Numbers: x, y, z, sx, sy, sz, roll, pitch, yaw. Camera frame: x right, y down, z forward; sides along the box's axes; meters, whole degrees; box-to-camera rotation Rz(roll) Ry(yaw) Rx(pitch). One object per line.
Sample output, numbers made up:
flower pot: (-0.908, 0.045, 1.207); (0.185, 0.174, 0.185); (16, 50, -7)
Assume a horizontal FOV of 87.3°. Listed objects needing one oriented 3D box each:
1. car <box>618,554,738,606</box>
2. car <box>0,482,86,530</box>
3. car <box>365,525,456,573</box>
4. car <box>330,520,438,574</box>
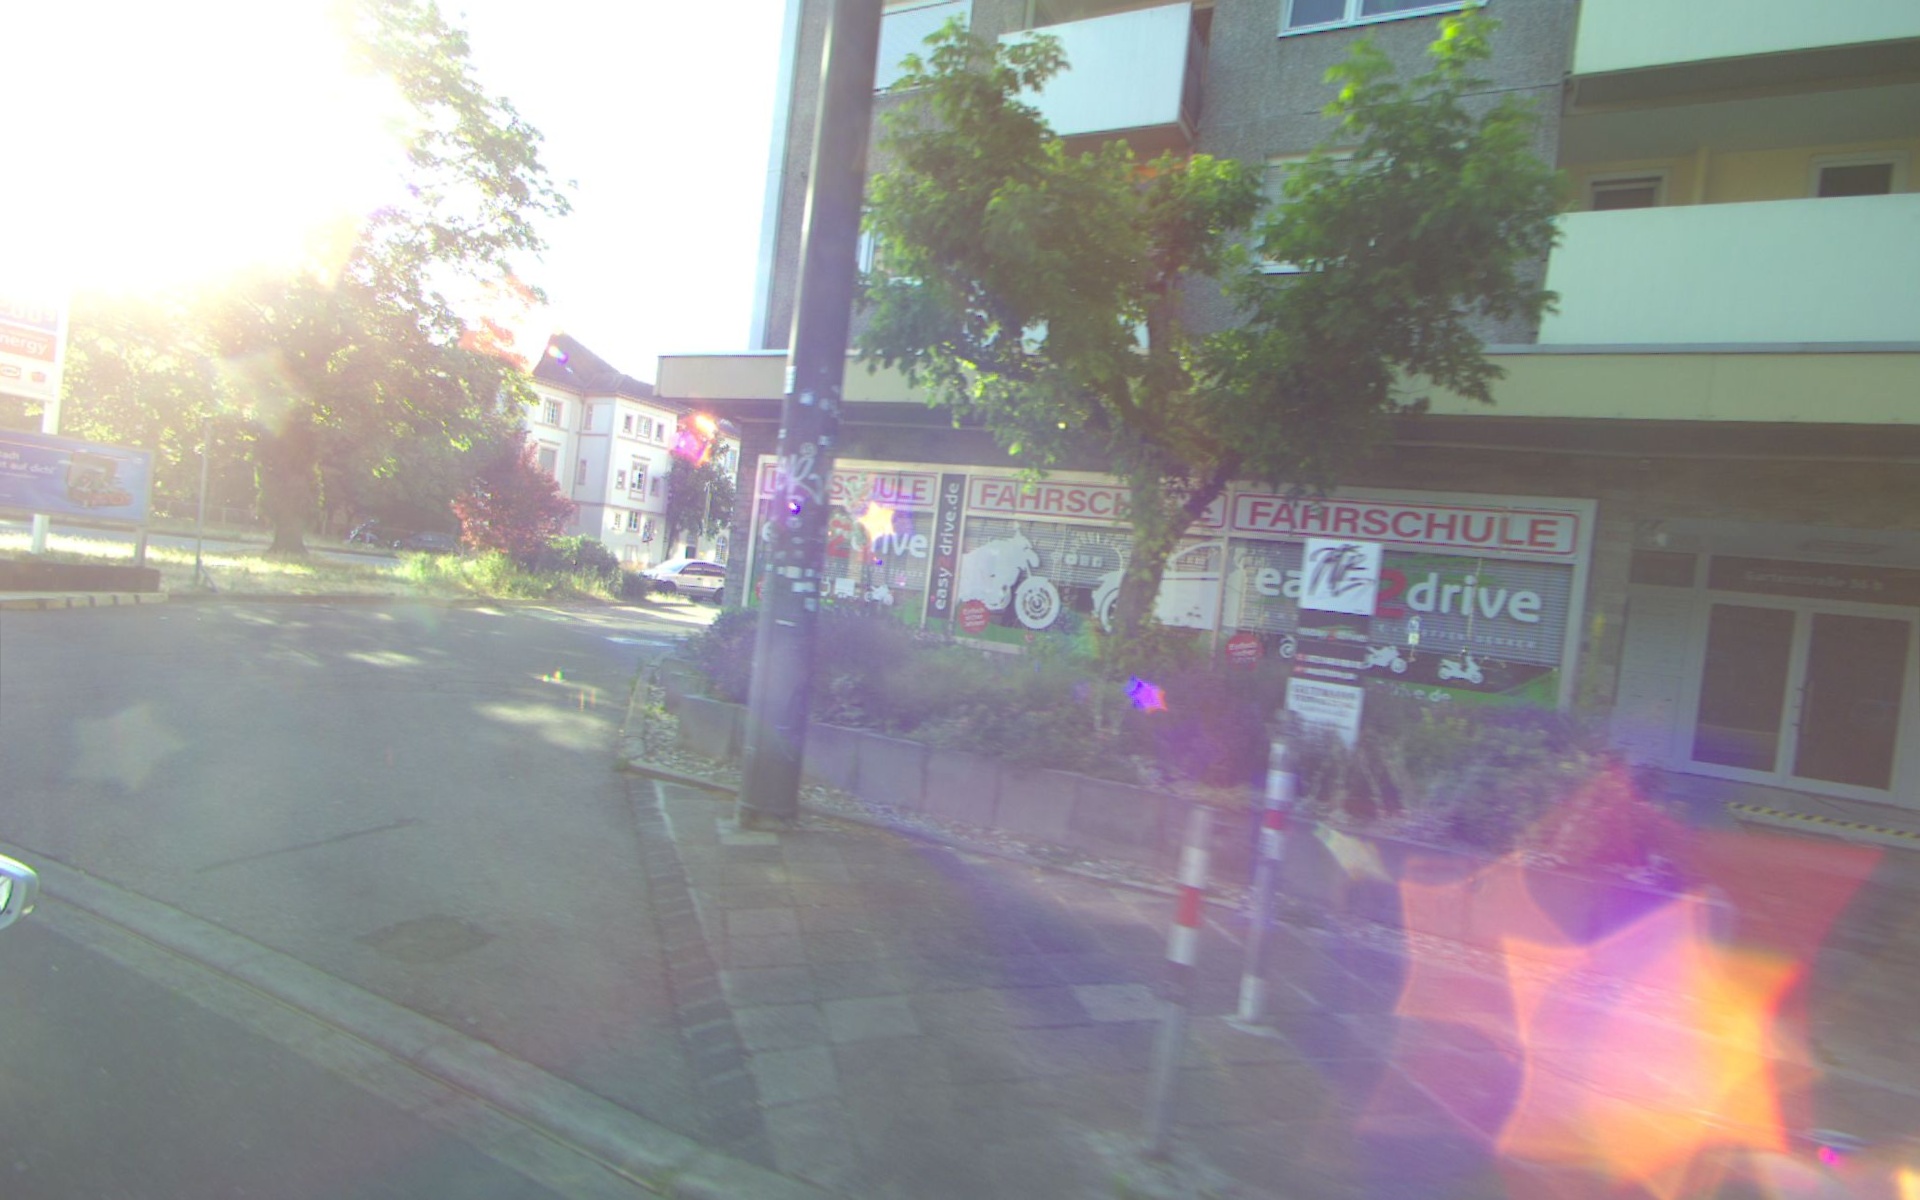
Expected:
car: (-10.292, -0.726, 36.947); (1.776, 1.438, 3.872); (7, 0, 38)
car: (-35.678, -3.649, 37.890); (1.664, 1.471, 3.978); (7, 0, 43)
car: (-29.779, -2.751, 54.538); (3.966, 2.039, 1.914); (6, 1, -38)
car: (-27.705, -2.544, 48.441); (1.907, 2.039, 3.982); (7, 1, 40)
